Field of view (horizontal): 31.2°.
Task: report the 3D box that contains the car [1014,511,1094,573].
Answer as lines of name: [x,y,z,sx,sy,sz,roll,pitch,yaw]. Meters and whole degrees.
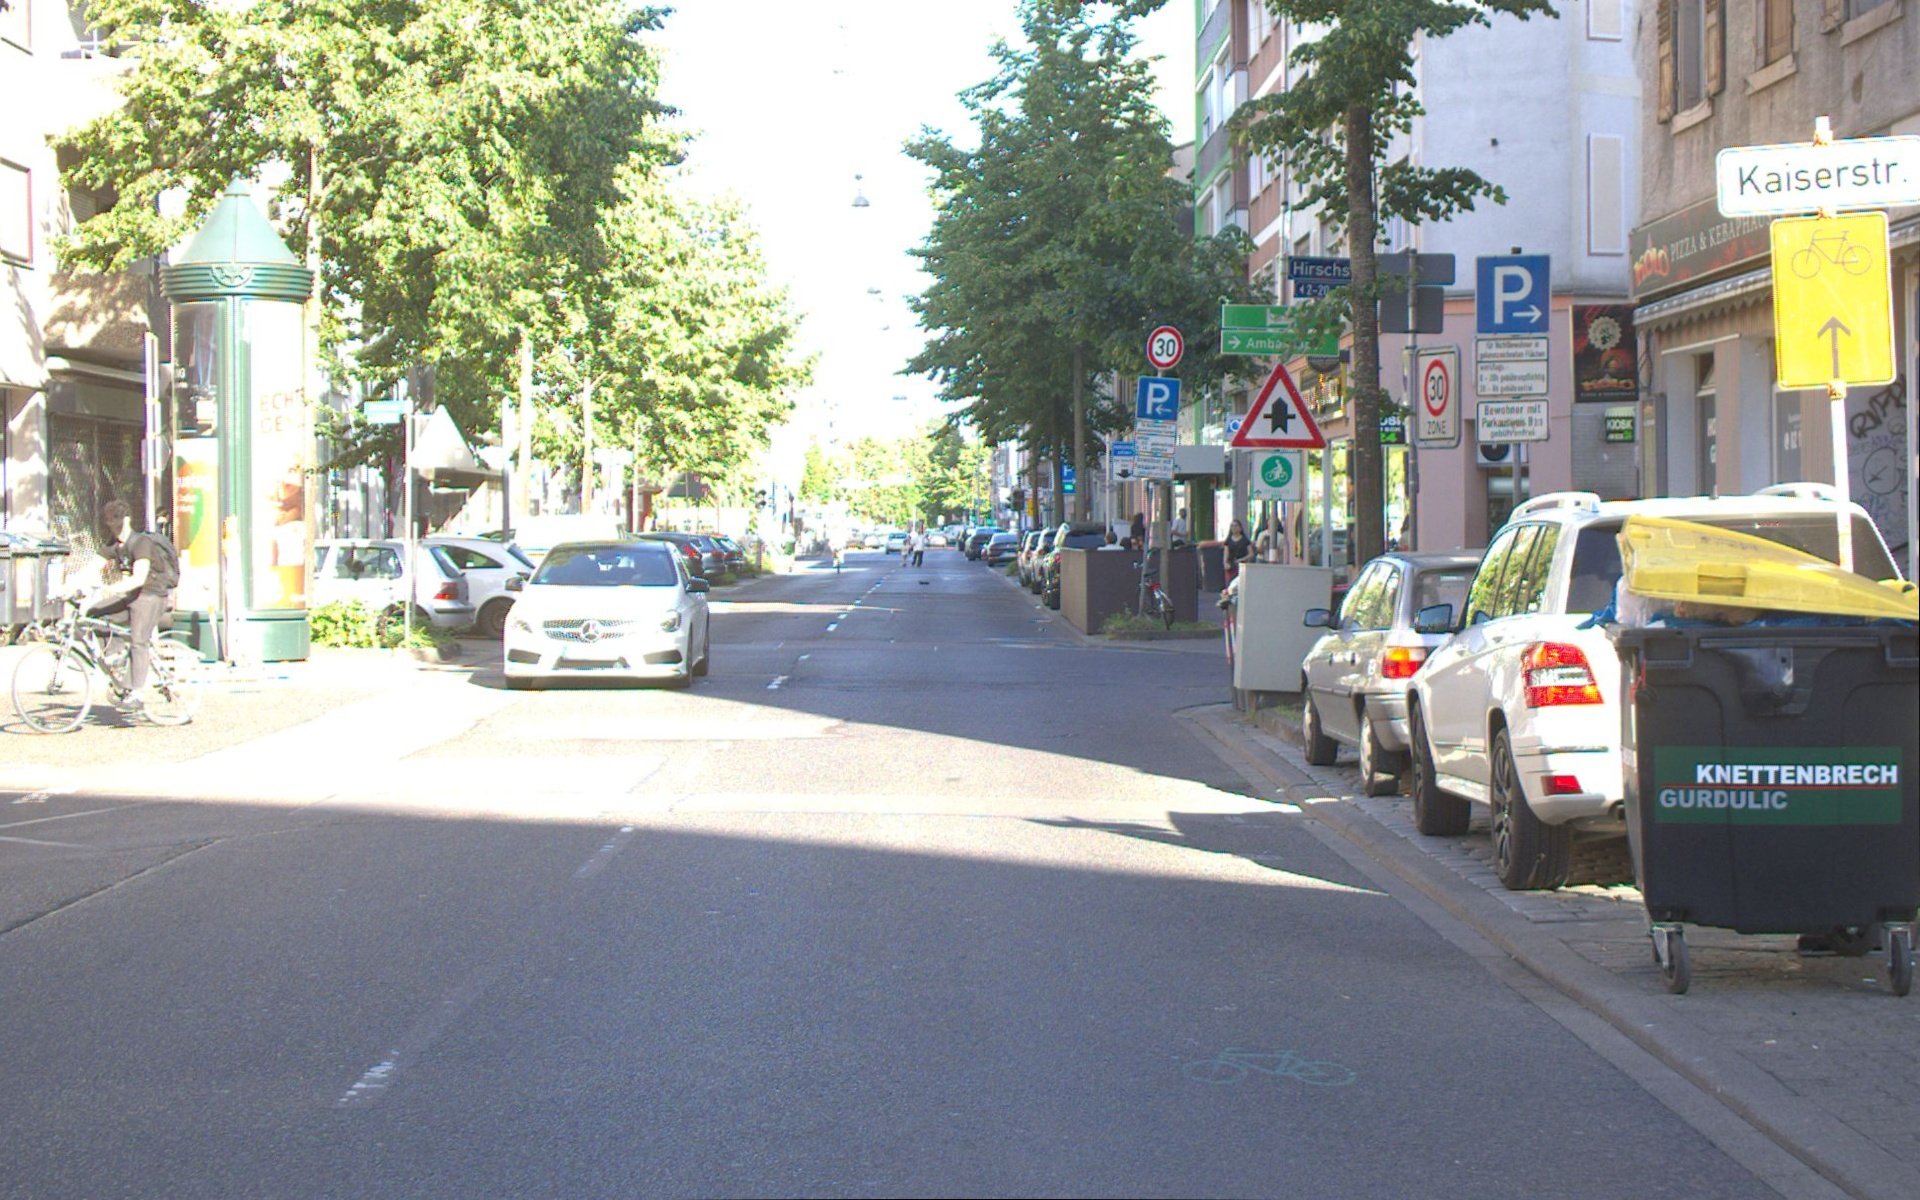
car: [2.529,-1.594,93.470,1.993,1.604,4.000,-1,2,-1]

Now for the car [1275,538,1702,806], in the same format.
car: [3.141,0.361,21.281,1.822,1.386,4.301,-3,1,-1]

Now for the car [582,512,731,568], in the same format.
car: [-8.462,-1.680,96.122,3.987,1.494,2.000,-1,2,-1]

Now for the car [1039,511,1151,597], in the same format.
car: [2.623,-0.925,67.462,1.993,1.604,4.000,-1,2,-1]

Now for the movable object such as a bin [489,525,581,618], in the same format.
movable object such as a bin: [-6.958,-0.477,56.358,1.334,1.473,1.480,-1,1,-1]

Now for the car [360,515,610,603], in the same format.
car: [-8.229,-0.722,59.792,3.987,1.452,1.868,0,2,5]

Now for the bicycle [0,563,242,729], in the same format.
bicycle: [-6.642,0.334,26.872,0.720,1.215,2.031,0,2,37]

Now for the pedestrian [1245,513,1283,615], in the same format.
pedestrian: [4.928,-0.589,55.701,0.547,1.644,0.664,-1,1,0]

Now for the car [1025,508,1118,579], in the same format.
car: [2.596,-1.345,80.832,1.993,1.604,4.000,-1,2,-1]

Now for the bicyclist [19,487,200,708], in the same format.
bicyclist: [-6.640,-0.035,26.865,0.720,1.687,1.155,0,2,37]

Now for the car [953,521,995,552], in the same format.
car: [0.680,-3.092,168.322,1.993,1.503,4.000,0,1,-1]

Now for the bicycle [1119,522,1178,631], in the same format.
bicycle: [2.611,-0.337,47.802,0.560,1.436,1.628,-6,2,0]

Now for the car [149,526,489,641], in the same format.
car: [-8.131,-0.231,43.897,3.987,1.385,2.000,-1,2,-1]

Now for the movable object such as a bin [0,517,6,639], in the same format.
movable object such as a bin: [-12.236,-0.250,41.469,1.140,1.480,1.236,-1,1,-2]

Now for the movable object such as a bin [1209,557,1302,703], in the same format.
movable object such as a bin: [2.542,0.252,29.600,0.705,1.218,0.681,-1,1,-2]

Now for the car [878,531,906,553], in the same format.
car: [-4.468,-3.821,226.018,1.792,1.406,4.000,-1,2,-1]

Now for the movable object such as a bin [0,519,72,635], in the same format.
movable object such as a bin: [-12.252,-0.307,44.555,1.171,1.480,1.315,-1,1,-2]

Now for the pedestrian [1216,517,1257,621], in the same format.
pedestrian: [4.420,-0.500,54.911,0.547,1.644,0.665,-1,1,-3]

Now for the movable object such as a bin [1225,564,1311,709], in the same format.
movable object such as a bin: [2.571,0.296,28.762,0.621,1.175,0.712,-1,1,-2]

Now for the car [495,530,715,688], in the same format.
car: [-3.461,0.039,34.206,1.802,1.430,4.410,-1,1,-1]

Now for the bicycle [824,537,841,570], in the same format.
bicycle: [-4.653,-1.687,125.149,0.560,1.176,1.628,0,1,0]

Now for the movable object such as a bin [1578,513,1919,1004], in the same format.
movable object such as a bin: [2.722,0.493,11.687,1.143,1.556,1.459,-1,1,8]

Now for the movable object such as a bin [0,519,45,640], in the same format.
movable object such as a bin: [-12.175,-0.264,42.926,1.171,1.480,1.315,-1,1,-2]

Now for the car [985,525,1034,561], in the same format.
car: [2.121,-2.460,148.832,1.993,1.503,4.000,0,1,-1]

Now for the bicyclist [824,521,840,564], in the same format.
bicyclist: [-4.661,-2.084,125.159,0.560,1.542,0.728,0,1,0]

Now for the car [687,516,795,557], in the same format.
car: [-8.278,-2.412,130.319,3.987,1.494,2.000,-1,2,-1]

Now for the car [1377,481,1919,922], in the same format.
car: [3.165,0.346,15.959,1.822,1.673,4.601,-3,1,0]

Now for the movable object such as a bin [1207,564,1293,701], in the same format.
movable object such as a bin: [2.555,0.277,30.342,0.659,1.175,0.739,-1,1,-2]

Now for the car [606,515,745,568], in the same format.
car: [-8.440,-1.752,102.367,3.987,1.494,2.000,-1,2,-1]

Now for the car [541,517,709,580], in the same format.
car: [-8.285,-1.297,85.356,3.987,1.494,2.000,-1,2,-1]

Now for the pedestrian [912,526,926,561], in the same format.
pedestrian: [-1.725,-2.366,143.488,0.545,1.467,0.546,-1,1,-2]

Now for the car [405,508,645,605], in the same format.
car: [-7.894,-0.800,62.590,3.987,1.688,2.000,0,2,5]

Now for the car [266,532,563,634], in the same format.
car: [-7.841,-0.266,49.685,3.987,1.385,2.000,-1,2,-1]

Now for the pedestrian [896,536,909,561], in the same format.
pedestrian: [-2.399,-2.150,143.526,0.545,1.023,0.546,-1,1,-2]
